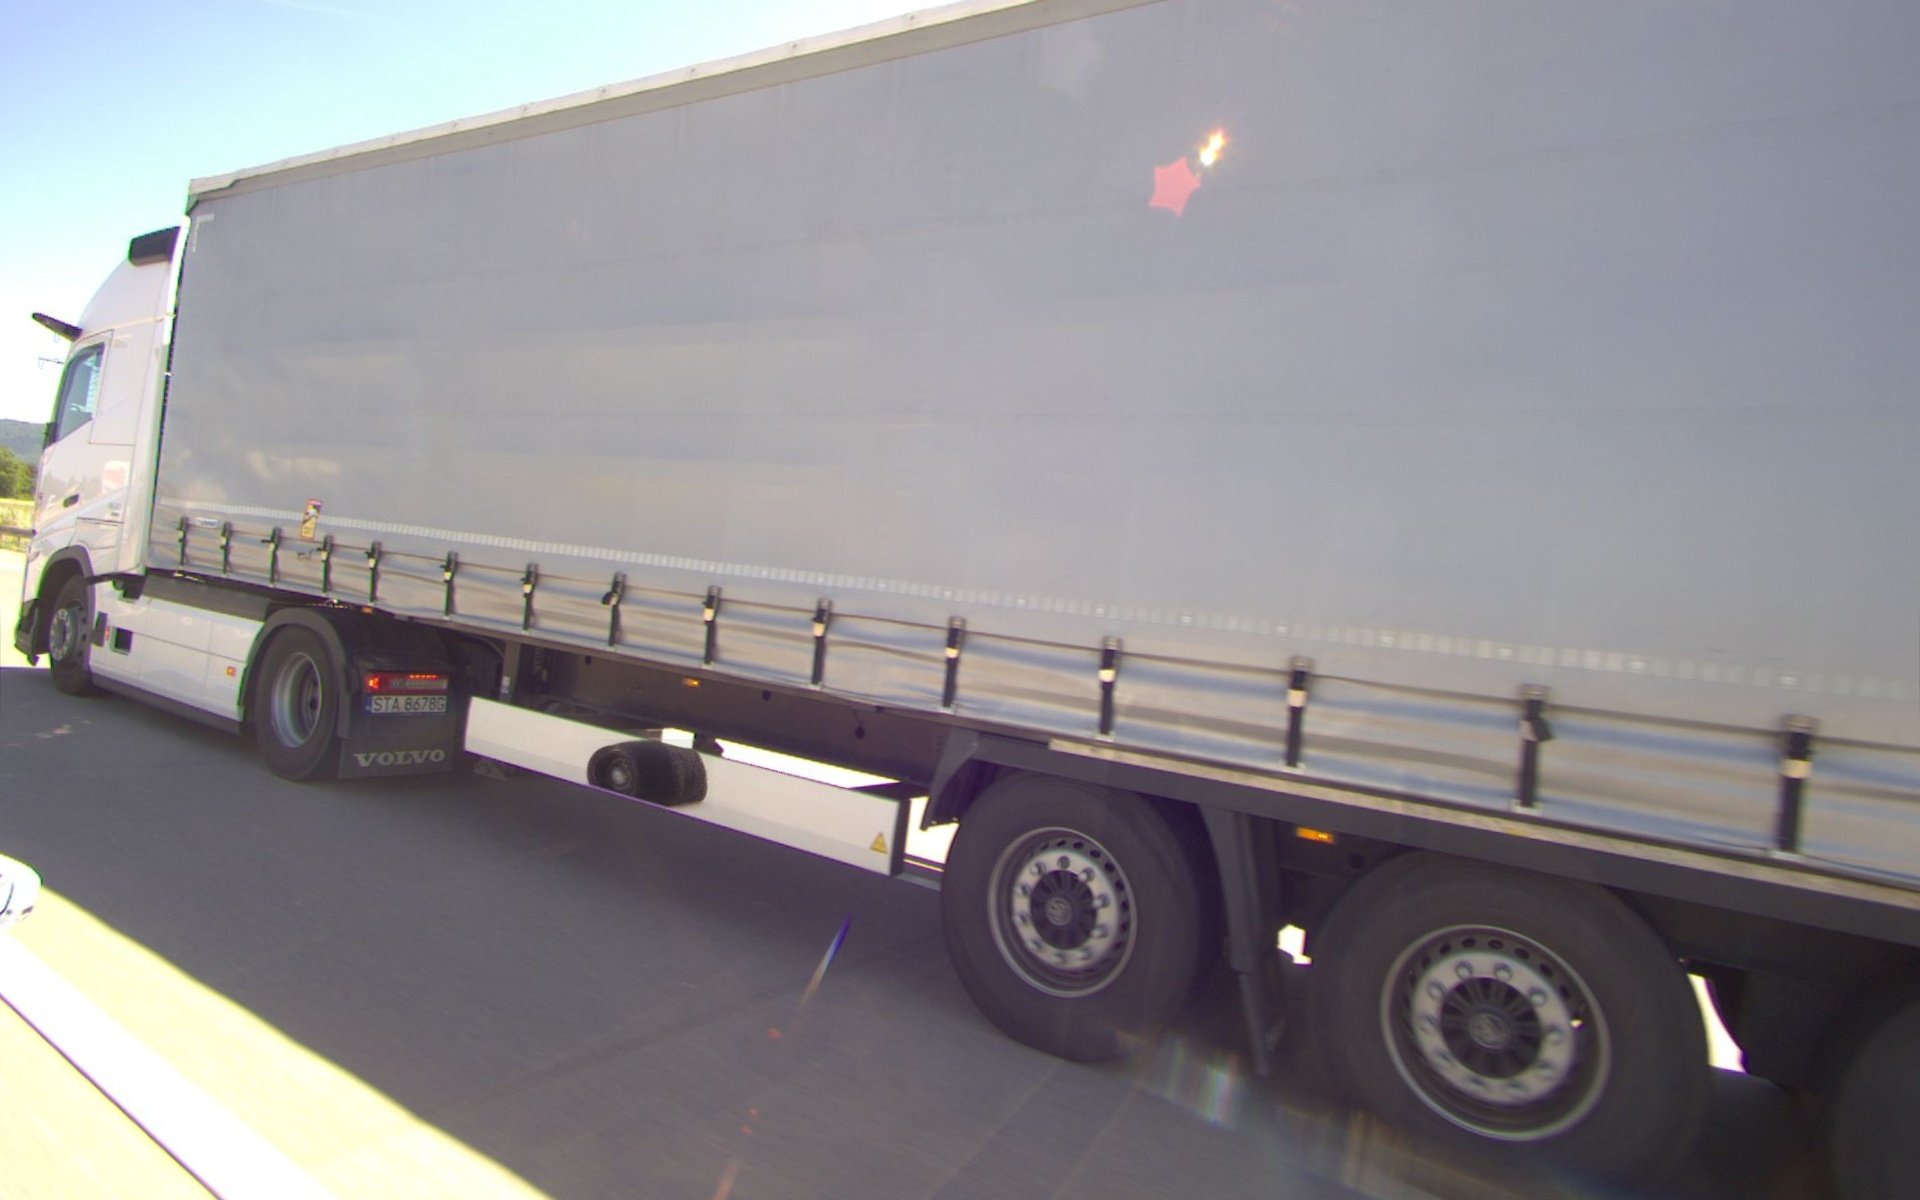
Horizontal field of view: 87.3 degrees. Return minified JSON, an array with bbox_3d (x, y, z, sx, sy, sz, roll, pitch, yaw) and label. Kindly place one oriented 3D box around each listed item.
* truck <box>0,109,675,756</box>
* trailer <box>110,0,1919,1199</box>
[{"bbox_3d":[-5.813,-1.160,9.026,5.387,4.109,2.990,7,-2,32],"label":"truck"},{"bbox_3d":[0.924,-0.462,4.876,13.969,4.108,3.024,7,-2,31],"label":"trailer"}]
